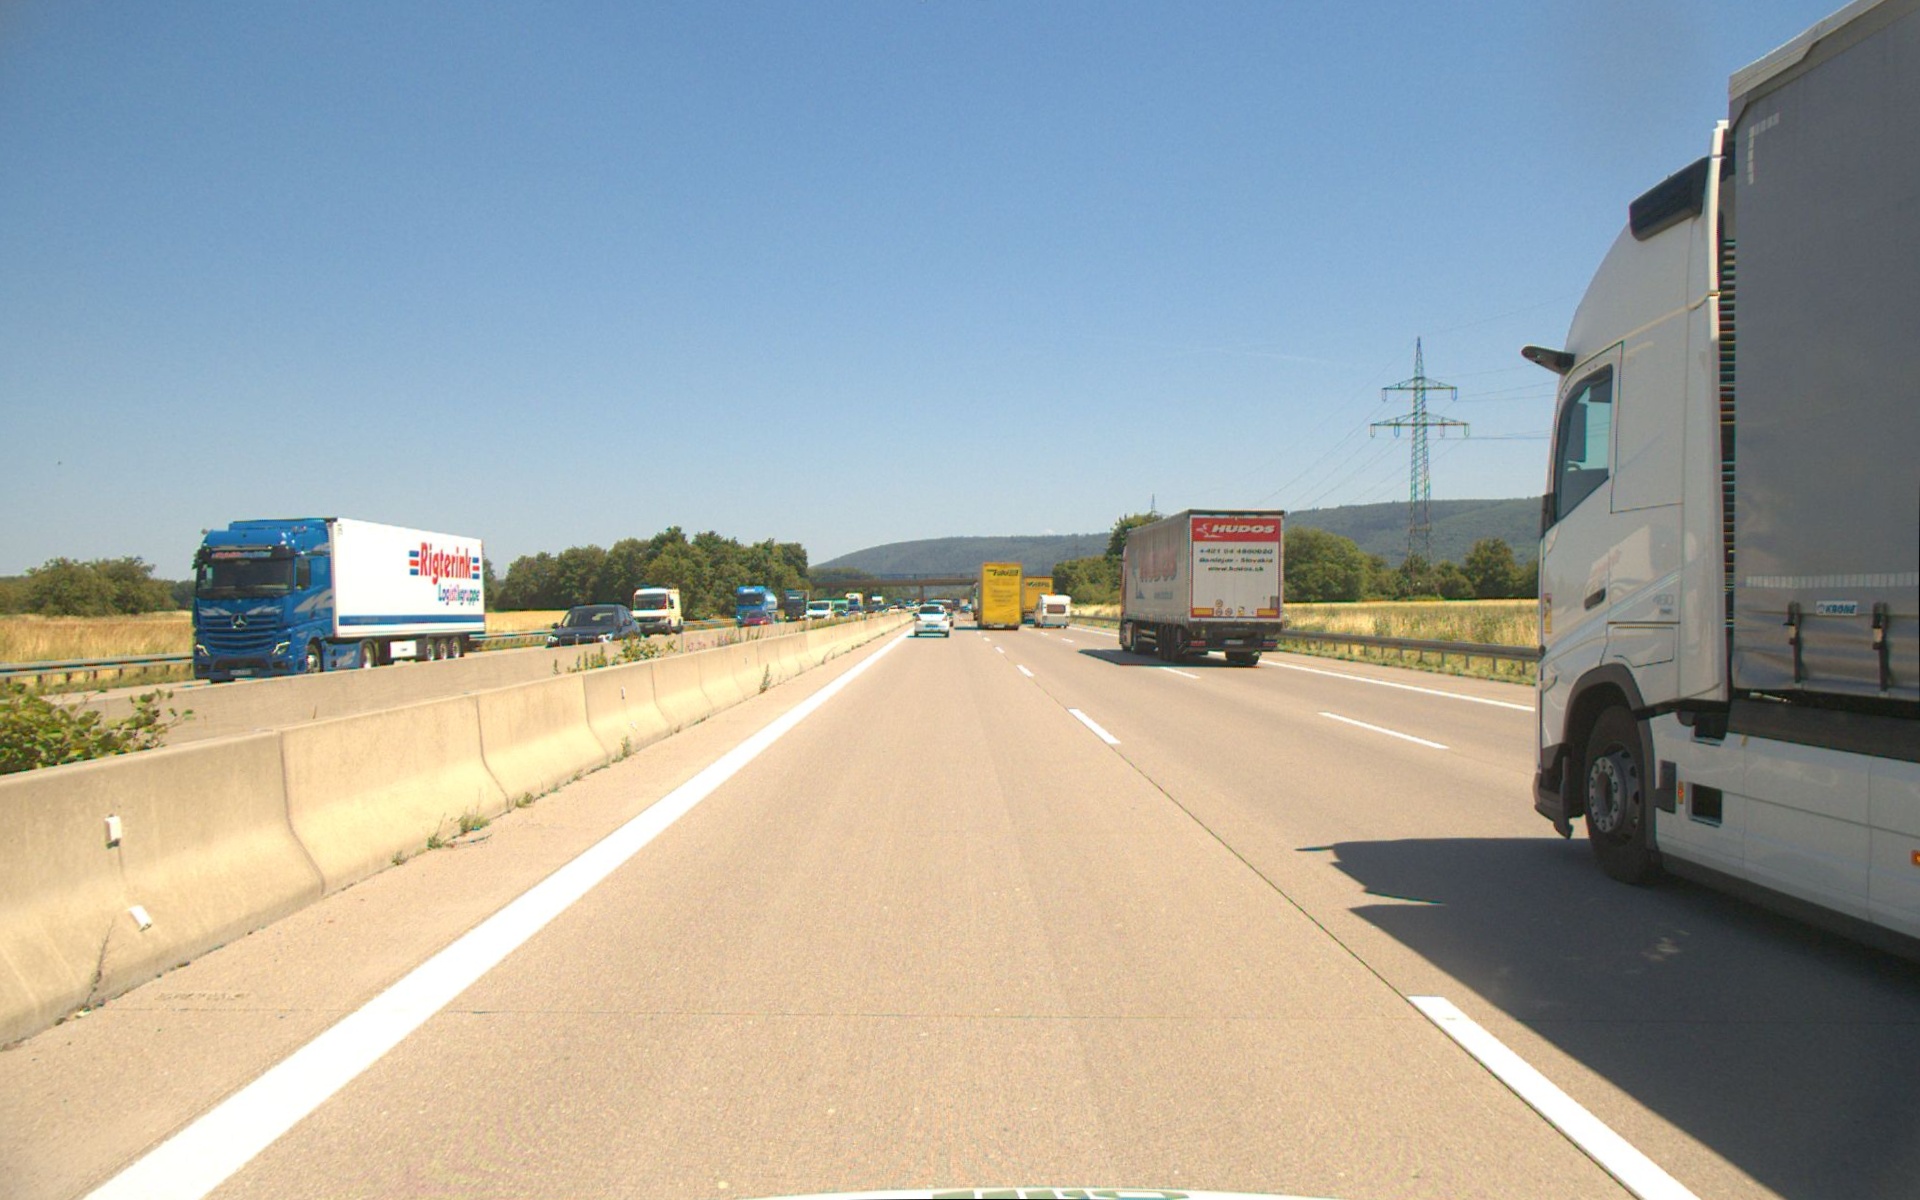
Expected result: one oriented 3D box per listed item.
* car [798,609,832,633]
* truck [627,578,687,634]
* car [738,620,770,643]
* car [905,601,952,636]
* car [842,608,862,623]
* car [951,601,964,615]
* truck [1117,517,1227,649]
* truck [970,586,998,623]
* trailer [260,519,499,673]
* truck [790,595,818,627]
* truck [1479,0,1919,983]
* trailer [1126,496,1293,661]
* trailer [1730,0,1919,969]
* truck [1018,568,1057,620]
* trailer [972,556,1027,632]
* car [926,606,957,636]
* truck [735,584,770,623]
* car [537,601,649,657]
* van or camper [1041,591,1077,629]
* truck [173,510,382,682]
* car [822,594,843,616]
[{"bbox_3d":[-10.733,1.550,122.927,2.095,1.708,5.644,0,0,-1],"label":"car"},{"bbox_3d":[-17.715,0.330,97.181,2.275,3.138,6.976,1,0,-1],"label":"truck"},{"bbox_3d":[-13.855,2.115,111.374,1.654,1.485,4.486,0,0,-1],"label":"car"},{"bbox_3d":[-1.479,0.855,79.164,2.064,1.563,4.122,1,0,1],"label":"car"},{"bbox_3d":[-10.384,1.496,158.927,1.743,1.372,4.451,2,0,-2],"label":"car"},{"bbox_3d":[-0.362,1.144,234.364,1.747,1.914,4.000,1,0,0],"label":"car"},{"bbox_3d":[7.067,-0.540,55.893,2.846,4.172,6.271,1,0,0],"label":"truck"},{"bbox_3d":[2.498,0.452,174.240,2.762,3.827,6.283,1,0,-1],"label":"truck"},{"bbox_3d":[-16.939,-0.108,49.557,2.849,3.977,12.508,1,0,-1],"label":"trailer"},{"bbox_3d":[-18.046,1.285,191.141,2.503,3.574,7.883,-1,0,-1],"label":"truck"},{"bbox_3d":[5.082,-0.600,8.627,2.923,4.133,5.477,1,0,-1],"label":"truck"},{"bbox_3d":[7.069,-0.540,49.105,2.815,4.172,13.511,1,0,0],"label":"trailer"},{"bbox_3d":[5.247,-0.663,0.554,2.957,4.132,14.202,1,0,-2],"label":"trailer"},{"bbox_3d":[6.910,-0.532,148.255,2.938,4.390,9.682,1,0,0],"label":"truck"},{"bbox_3d":[2.508,-0.389,109.755,3.150,4.643,13.455,1,0,0],"label":"trailer"},{"bbox_3d":[-1.327,1.503,120.384,2.208,2.049,4.297,1,0,0],"label":"car"},{"bbox_3d":[-18.153,0.294,145.101,2.433,3.367,5.262,1,0,-1],"label":"truck"},{"bbox_3d":[-9.512,0.739,43.268,1.860,1.349,5.068,1,-1,-1],"label":"car"},{"bbox_3d":[7.074,0.693,118.808,2.179,2.575,5.430,1,0,-1],"label":"van or camper"},{"bbox_3d":[-16.817,-0.092,41.189,2.838,3.931,5.683,1,0,-1],"label":"truck"},{"bbox_3d":[-15.451,0.622,201.052,2.105,2.595,6.462,-1,0,-1],"label":"car"}]
